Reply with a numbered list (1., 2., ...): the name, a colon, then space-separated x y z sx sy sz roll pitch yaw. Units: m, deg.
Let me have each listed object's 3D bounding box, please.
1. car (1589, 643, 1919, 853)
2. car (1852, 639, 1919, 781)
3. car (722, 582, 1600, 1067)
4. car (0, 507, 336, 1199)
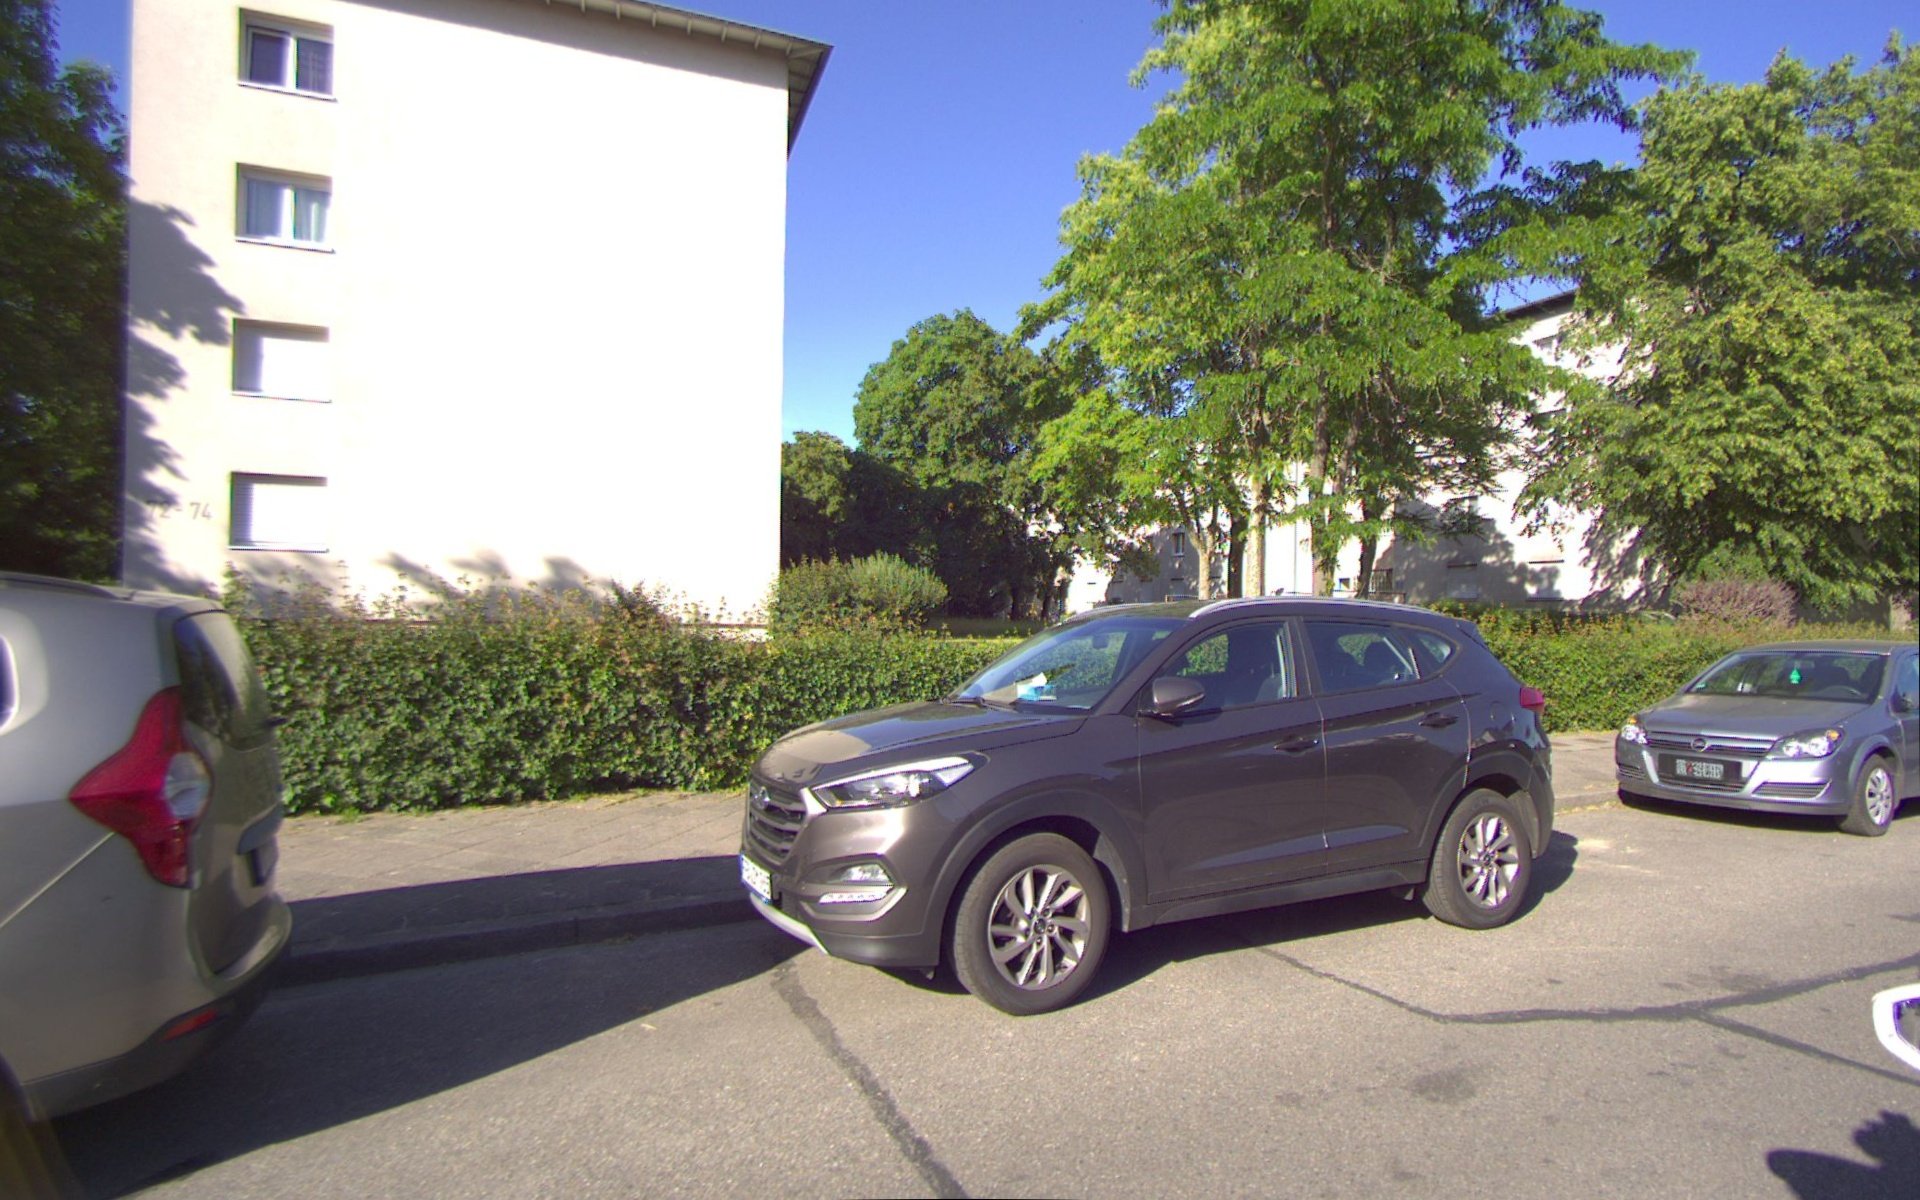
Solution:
1. car: 7.513 1.118 8.786 3.950 1.456 1.664 1 -2 -28
2. car: 11.870 1.186 11.163 3.629 1.493 1.665 1 -2 -26
3. car: 1.126 0.796 5.172 4.306 1.639 1.742 1 -1 -27
4. car: -3.983 0.645 2.255 4.288 1.745 1.549 1 -1 -30
